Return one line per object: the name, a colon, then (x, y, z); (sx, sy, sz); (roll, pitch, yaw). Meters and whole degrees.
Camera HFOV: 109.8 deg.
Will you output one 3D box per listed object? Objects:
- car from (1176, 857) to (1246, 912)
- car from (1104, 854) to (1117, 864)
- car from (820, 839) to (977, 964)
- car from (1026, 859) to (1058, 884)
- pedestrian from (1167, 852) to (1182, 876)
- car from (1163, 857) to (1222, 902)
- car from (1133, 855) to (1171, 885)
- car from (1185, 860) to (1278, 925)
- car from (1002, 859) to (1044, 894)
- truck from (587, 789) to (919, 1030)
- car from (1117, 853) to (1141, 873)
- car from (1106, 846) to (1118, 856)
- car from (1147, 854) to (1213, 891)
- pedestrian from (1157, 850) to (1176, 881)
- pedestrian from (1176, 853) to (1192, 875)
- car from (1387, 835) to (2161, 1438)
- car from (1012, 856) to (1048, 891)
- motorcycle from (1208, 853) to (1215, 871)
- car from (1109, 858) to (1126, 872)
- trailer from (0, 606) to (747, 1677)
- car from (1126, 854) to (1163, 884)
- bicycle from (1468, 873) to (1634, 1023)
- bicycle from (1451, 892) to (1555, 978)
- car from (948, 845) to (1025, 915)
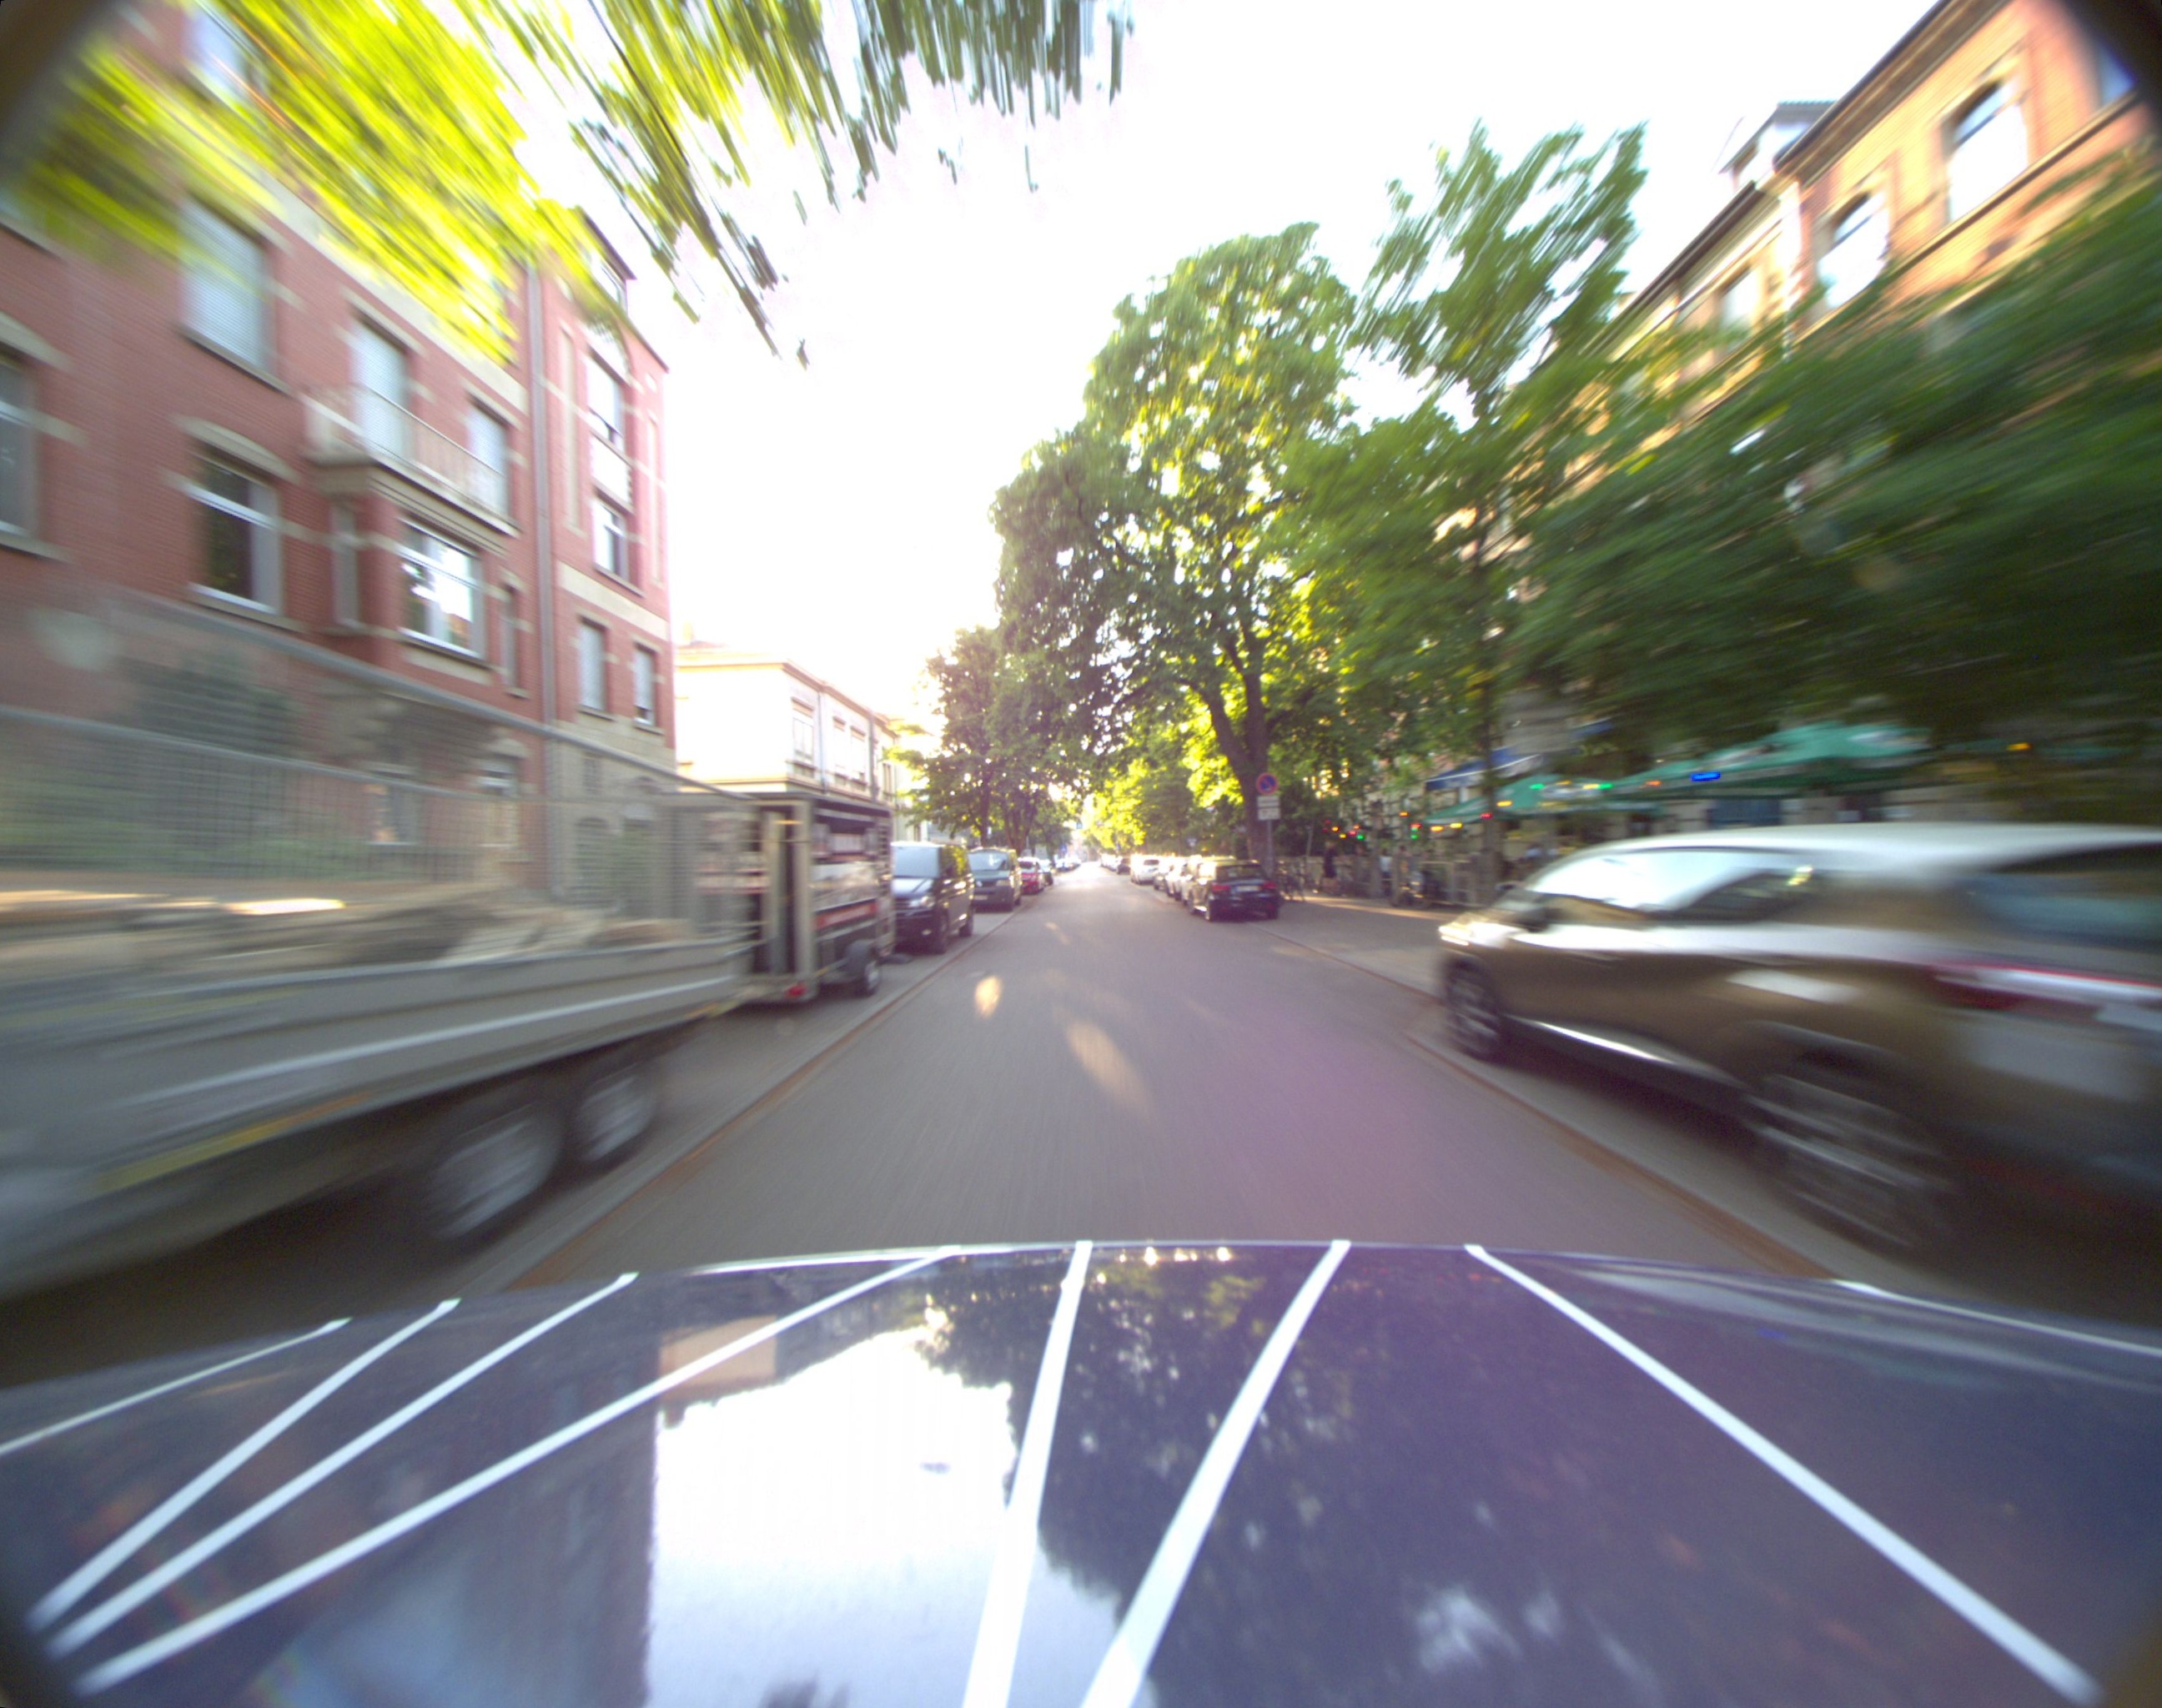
car: (3.986, 0.880, 23.788); (1.555, 1.476, 3.694); (-4, 0, 2)
car: (4.575, 0.767, 118.969); (1.617, 1.433, 4.104); (-3, 0, -1)
car: (-3.173, 0.779, 14.208); (1.843, 1.931, 4.614); (1, -1, 0)
car: (-2.443, 1.123, 48.970); (1.735, 1.547, 3.963); (1, -1, 2)
pedestrian: (7.085, 0.771, 57.571); (0.688, 1.824, 1.007); (-1, 0, -25)
car: (4.003, 0.872, 27.848); (1.607, 1.427, 3.886); (-4, 0, 2)
car: (3.972, 0.861, 42.724); (1.668, 1.484, 3.710); (-4, 0, 0)
car: (3.706, 0.902, 19.263); (1.555, 1.476, 3.694); (-1, 0, -1)
car: (-2.576, 1.003, 34.406); (1.668, 1.491, 3.694); (1, -1, -1)
truck: (-3.578, 0.551, 9.450); (1.959, 2.233, 4.646); (1, -1, 2)
car: (4.554, 0.853, 72.505); (1.871, 1.677, 4.592); (-3, -1, 0)
car: (4.995, -0.445, 123.732); (1.617, 1.433, 4.104); (-3, 0, -1)
car: (4.271, 0.793, 33.349); (1.845, 1.403, 4.599); (-4, 0, -5)
pedestrian: (5.681, 0.751, 50.541); (0.869, 2.002, 1.008); (-1, 0, -19)
pedestrian: (7.621, 0.764, 56.420); (0.688, 1.621, 1.051); (-1, 0, -25)
car: (3.550, 0.774, 4.289); (1.694, 1.554, 4.402); (-4, 0, -1)
car: (-2.683, 0.989, 39.134); (1.669, 1.668, 4.117); (1, -1, -6)
motorcycle: (8.622, 0.522, 50.214); (0.392, 1.179, 1.958); (-3, 0, 11)
car: (4.364, 1.302, 90.668); (1.617, 1.433, 3.754); (-4, 0, -2)
trailer: (-3.264, 0.611, 2.808); (1.959, 2.282, 4.645); (1, 0, 0)
car: (3.895, 0.901, 46.934); (1.669, 1.667, 3.846); (-4, 0, -3)
bicycle: (4.641, 0.857, 7.666); (0.483, 1.248, 1.900); (-5, -1, 3)
bicycle: (5.454, 1.011, 9.924); (0.416, 0.923, 1.735); (-4, -1, 3)
car: (-2.983, 0.799, 24.962); (1.959, 2.046, 4.830); (1, -1, -1)
